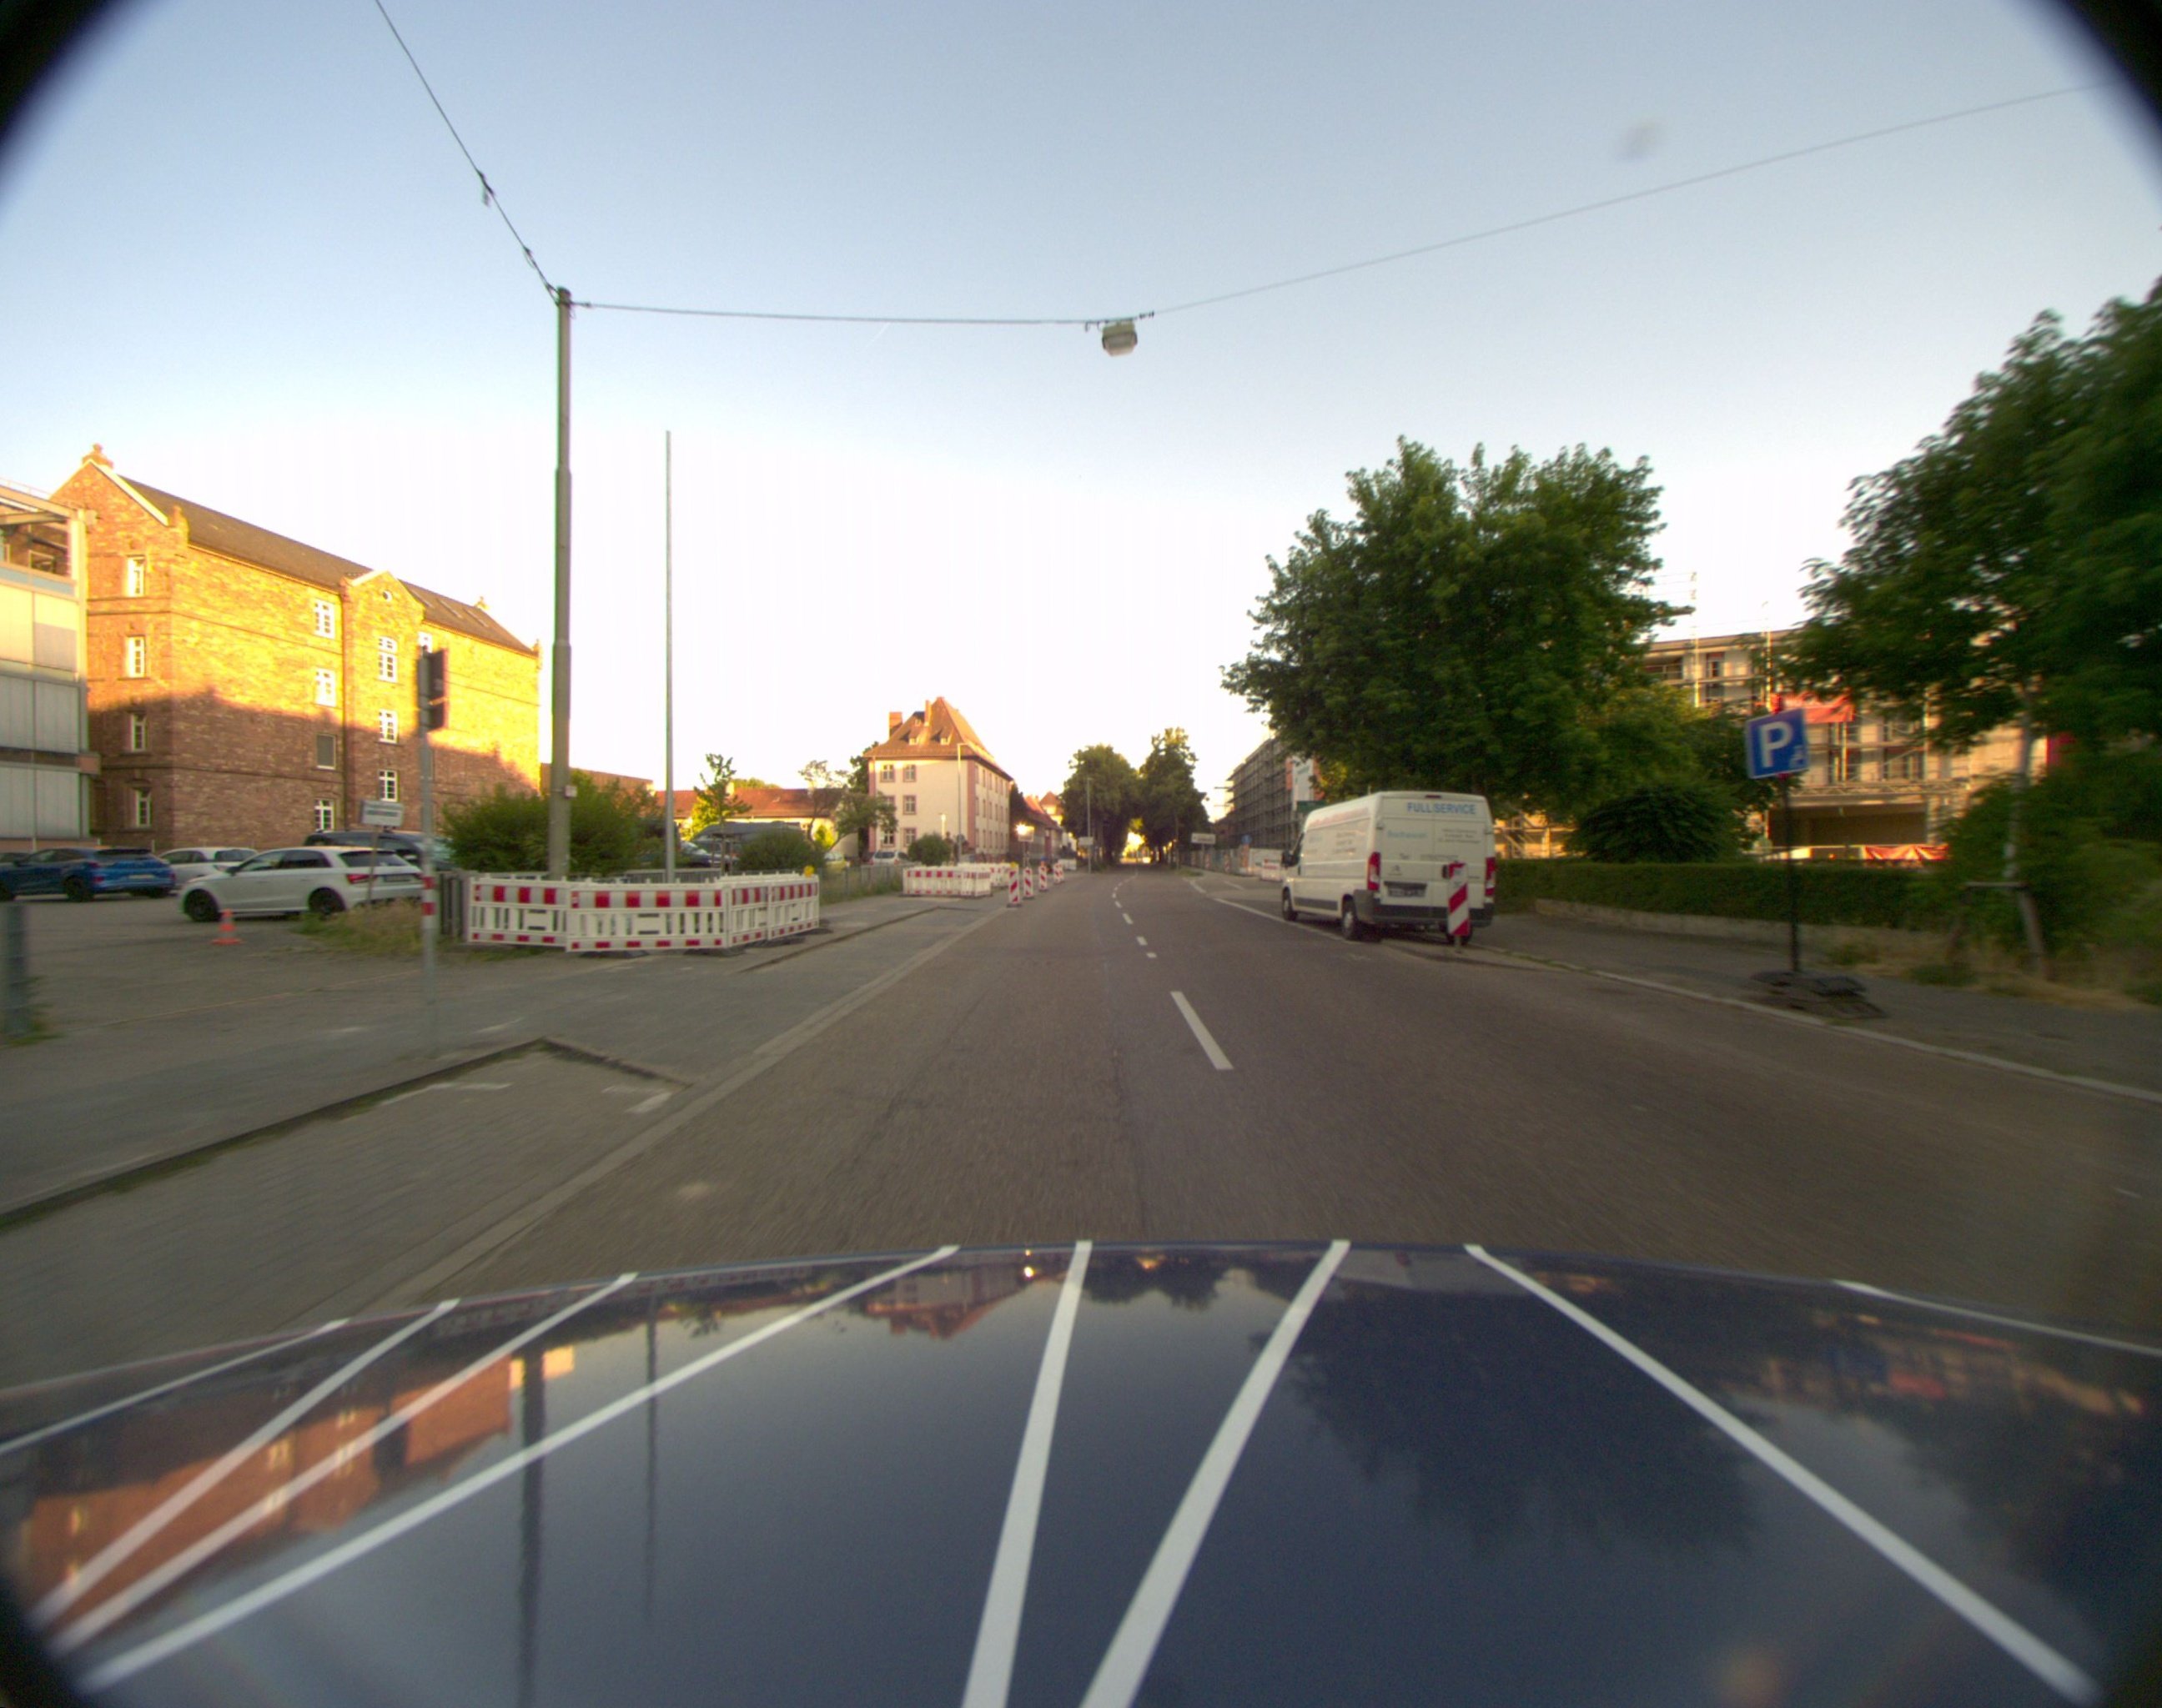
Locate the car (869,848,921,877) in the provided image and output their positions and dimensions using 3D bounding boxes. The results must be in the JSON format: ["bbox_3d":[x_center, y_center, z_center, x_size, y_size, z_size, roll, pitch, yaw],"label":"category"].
[{"bbox_3d":[-11.303,0.495,46.518,1.919,1.620,4.808,-1,0,1],"label":"car"}]

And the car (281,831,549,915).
[{"bbox_3d":[-15.205,0.411,17.534,4.489,1.800,2.005,0,0,2],"label":"car"}]

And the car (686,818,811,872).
[{"bbox_3d":[-14.145,-0.385,32.498,4.433,2.184,2.001,-1,0,5],"label":"car"}]

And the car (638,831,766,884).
[{"bbox_3d":[-14.699,0.136,29.605,3.995,2.002,2.001,0,0,5],"label":"car"}]

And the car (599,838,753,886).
[{"bbox_3d":[-14.433,0.283,27.239,4.433,1.639,2.001,-1,0,5],"label":"car"}]

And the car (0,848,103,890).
[{"bbox_3d":[-39.134,0.530,27.969,4.143,1.508,1.828,0,0,4],"label":"car"}]

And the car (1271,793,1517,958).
[{"bbox_3d":[5.574,0.327,14.752,2.184,2.447,6.103,2,0,0],"label":"car"}]

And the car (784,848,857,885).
[{"bbox_3d":[-12.443,0.574,36.516,1.700,1.639,4.138,-1,0,6],"label":"car"}]

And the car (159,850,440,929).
[{"bbox_3d":[-15.158,0.649,14.877,3.839,1.444,1.695,0,0,2],"label":"car"}]

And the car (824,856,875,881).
[{"bbox_3d":[-15.086,0.913,49.681,2.016,1.591,4.000,-1,0,1],"label":"car"}]

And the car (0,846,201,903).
[{"bbox_3d":[-27.575,0.543,21.281,3.937,1.508,1.986,0,0,8],"label":"car"}]

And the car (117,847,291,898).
[{"bbox_3d":[-27.169,0.544,23.600,3.726,1.508,1.828,0,0,9],"label":"car"}]

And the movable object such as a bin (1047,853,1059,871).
[{"bbox_3d":[-2.453,0.679,66.192,0.978,1.600,0.634,-1,1,-5],"label":"movable object such as a bin"}]

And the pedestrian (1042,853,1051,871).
[{"bbox_3d":[-2.989,0.690,65.515,0.716,1.600,0.518,-1,1,-5],"label":"pedestrian"}]

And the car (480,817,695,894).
[{"bbox_3d":[-14.502,0.062,22.498,5.030,2.117,2.291,-1,0,8],"label":"car"}]
